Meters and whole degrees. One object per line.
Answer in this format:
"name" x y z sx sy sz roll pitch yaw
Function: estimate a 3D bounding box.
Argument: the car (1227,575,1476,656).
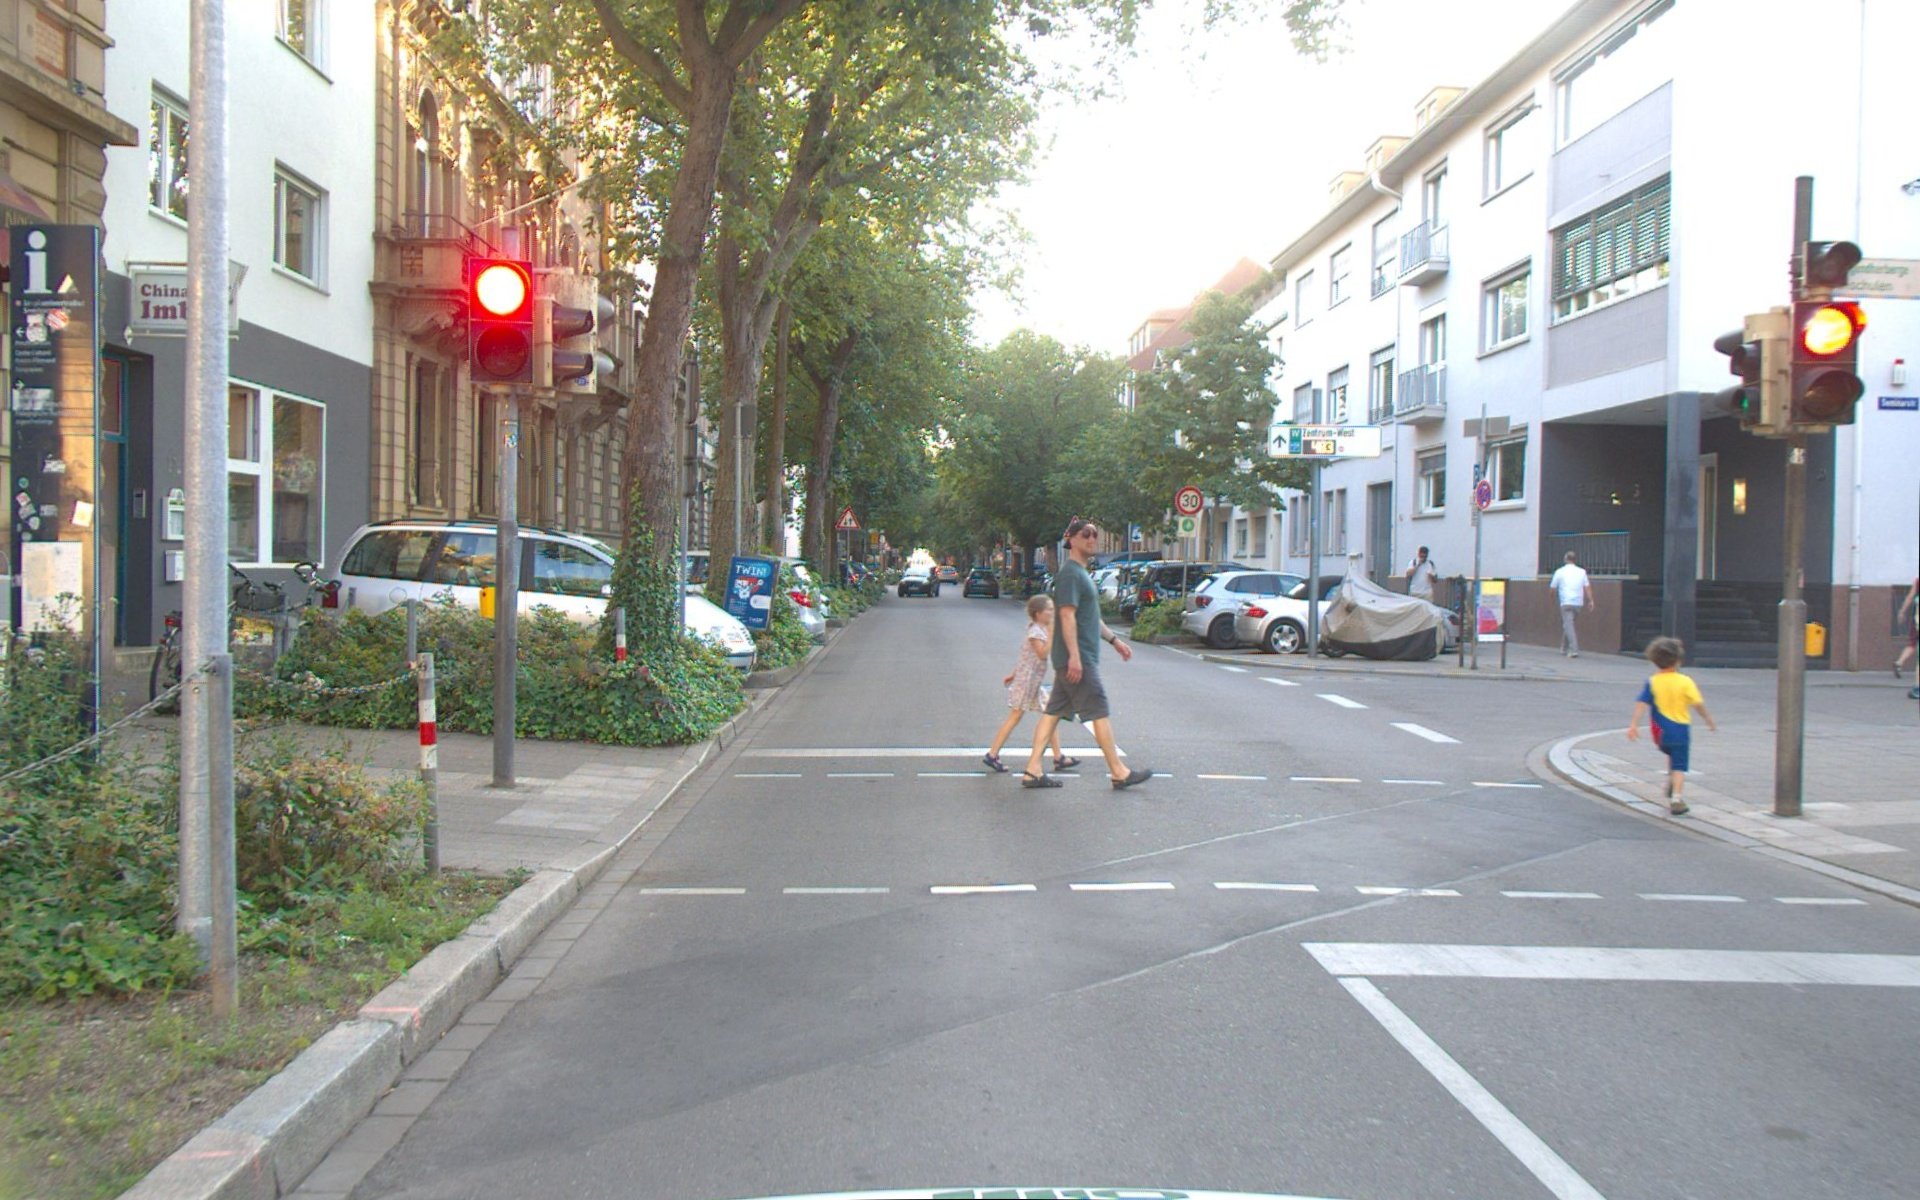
"car" 6.760 0.252 28.852 3.933 1.366 1.707 0 1 -1

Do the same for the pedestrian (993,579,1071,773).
"pedestrian" 0.527 0.538 12.012 0.528 1.359 0.507 1 1 3

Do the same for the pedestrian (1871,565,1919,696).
"pedestrian" 11.880 0.369 20.304 0.957 1.584 0.701 1 1 -1

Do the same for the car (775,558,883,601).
"car" -5.530 -0.888 70.301 4.455 1.721 1.833 1 1 -1

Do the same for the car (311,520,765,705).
"car" -4.382 0.121 17.756 4.458 1.867 1.832 0 1 -5

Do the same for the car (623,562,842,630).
"car" -4.830 -0.107 35.586 4.455 1.396 1.833 0 1 -1

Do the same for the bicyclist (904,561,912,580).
"bicyclist" -4.210 -2.368 133.256 0.560 1.495 0.642 1 0 -8

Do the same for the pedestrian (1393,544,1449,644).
"pedestrian" 8.772 -0.126 31.504 0.751 1.873 0.943 1 1 -1

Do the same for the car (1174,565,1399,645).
"car" 6.150 0.085 31.441 3.933 1.467 1.706 0 1 -2

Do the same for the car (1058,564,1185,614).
"car" 5.276 -0.365 54.290 3.933 1.556 1.706 1 1 -2

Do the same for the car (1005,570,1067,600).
"car" 5.027 -1.002 109.264 3.933 1.862 1.706 1 1 -2

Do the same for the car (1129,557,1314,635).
"car" 5.932 -0.099 37.817 3.933 1.720 1.706 0 1 -2

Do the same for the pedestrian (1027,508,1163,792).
"pedestrian" 0.902 0.318 11.228 0.869 1.847 0.794 1 1 3

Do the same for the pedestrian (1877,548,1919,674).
"pedestrian" 13.905 0.156 23.890 0.753 1.782 0.933 1 1 -1

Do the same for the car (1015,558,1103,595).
"car" 4.569 -1.085 76.544 3.933 1.629 1.706 1 1 -2

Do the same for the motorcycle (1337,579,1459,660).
"motorcycle" 6.765 0.289 25.603 1.761 1.220 0.613 0 1 7

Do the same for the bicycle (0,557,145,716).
"bicycle" -7.691 0.258 13.676 0.623 1.222 2.564 0 1 0

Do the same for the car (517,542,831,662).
"car" -4.262 0.015 25.181 4.455 1.718 1.833 0 1 -1

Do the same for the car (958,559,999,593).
"car" 0.909 -1.205 83.284 1.788 1.588 4.026 2 1 -2

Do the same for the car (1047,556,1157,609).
"car" 5.284 -0.660 61.901 3.933 1.862 1.706 1 1 -2

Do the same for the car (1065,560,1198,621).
"car" 5.294 -0.301 51.434 3.933 1.847 1.706 0 1 -2

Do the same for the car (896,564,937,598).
"car" -2.167 -0.939 82.159 1.866 1.605 3.989 2 1 -3

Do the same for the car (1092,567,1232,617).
"car" 5.965 -0.252 49.108 3.933 1.434 1.706 0 1 -2

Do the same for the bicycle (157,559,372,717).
"bicycle" -5.902 0.271 14.238 0.719 1.207 2.634 2 1 -1

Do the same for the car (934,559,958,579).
"car" -1.172 -2.576 137.679 1.885 1.688 3.999 1 1 -2

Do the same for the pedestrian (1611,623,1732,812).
"pedestrian" 4.674 0.741 10.844 0.555 1.140 0.834 2 1 34

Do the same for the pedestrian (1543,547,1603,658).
"pedestrian" 9.986 0.033 26.973 0.689 1.782 0.700 1 1 2
